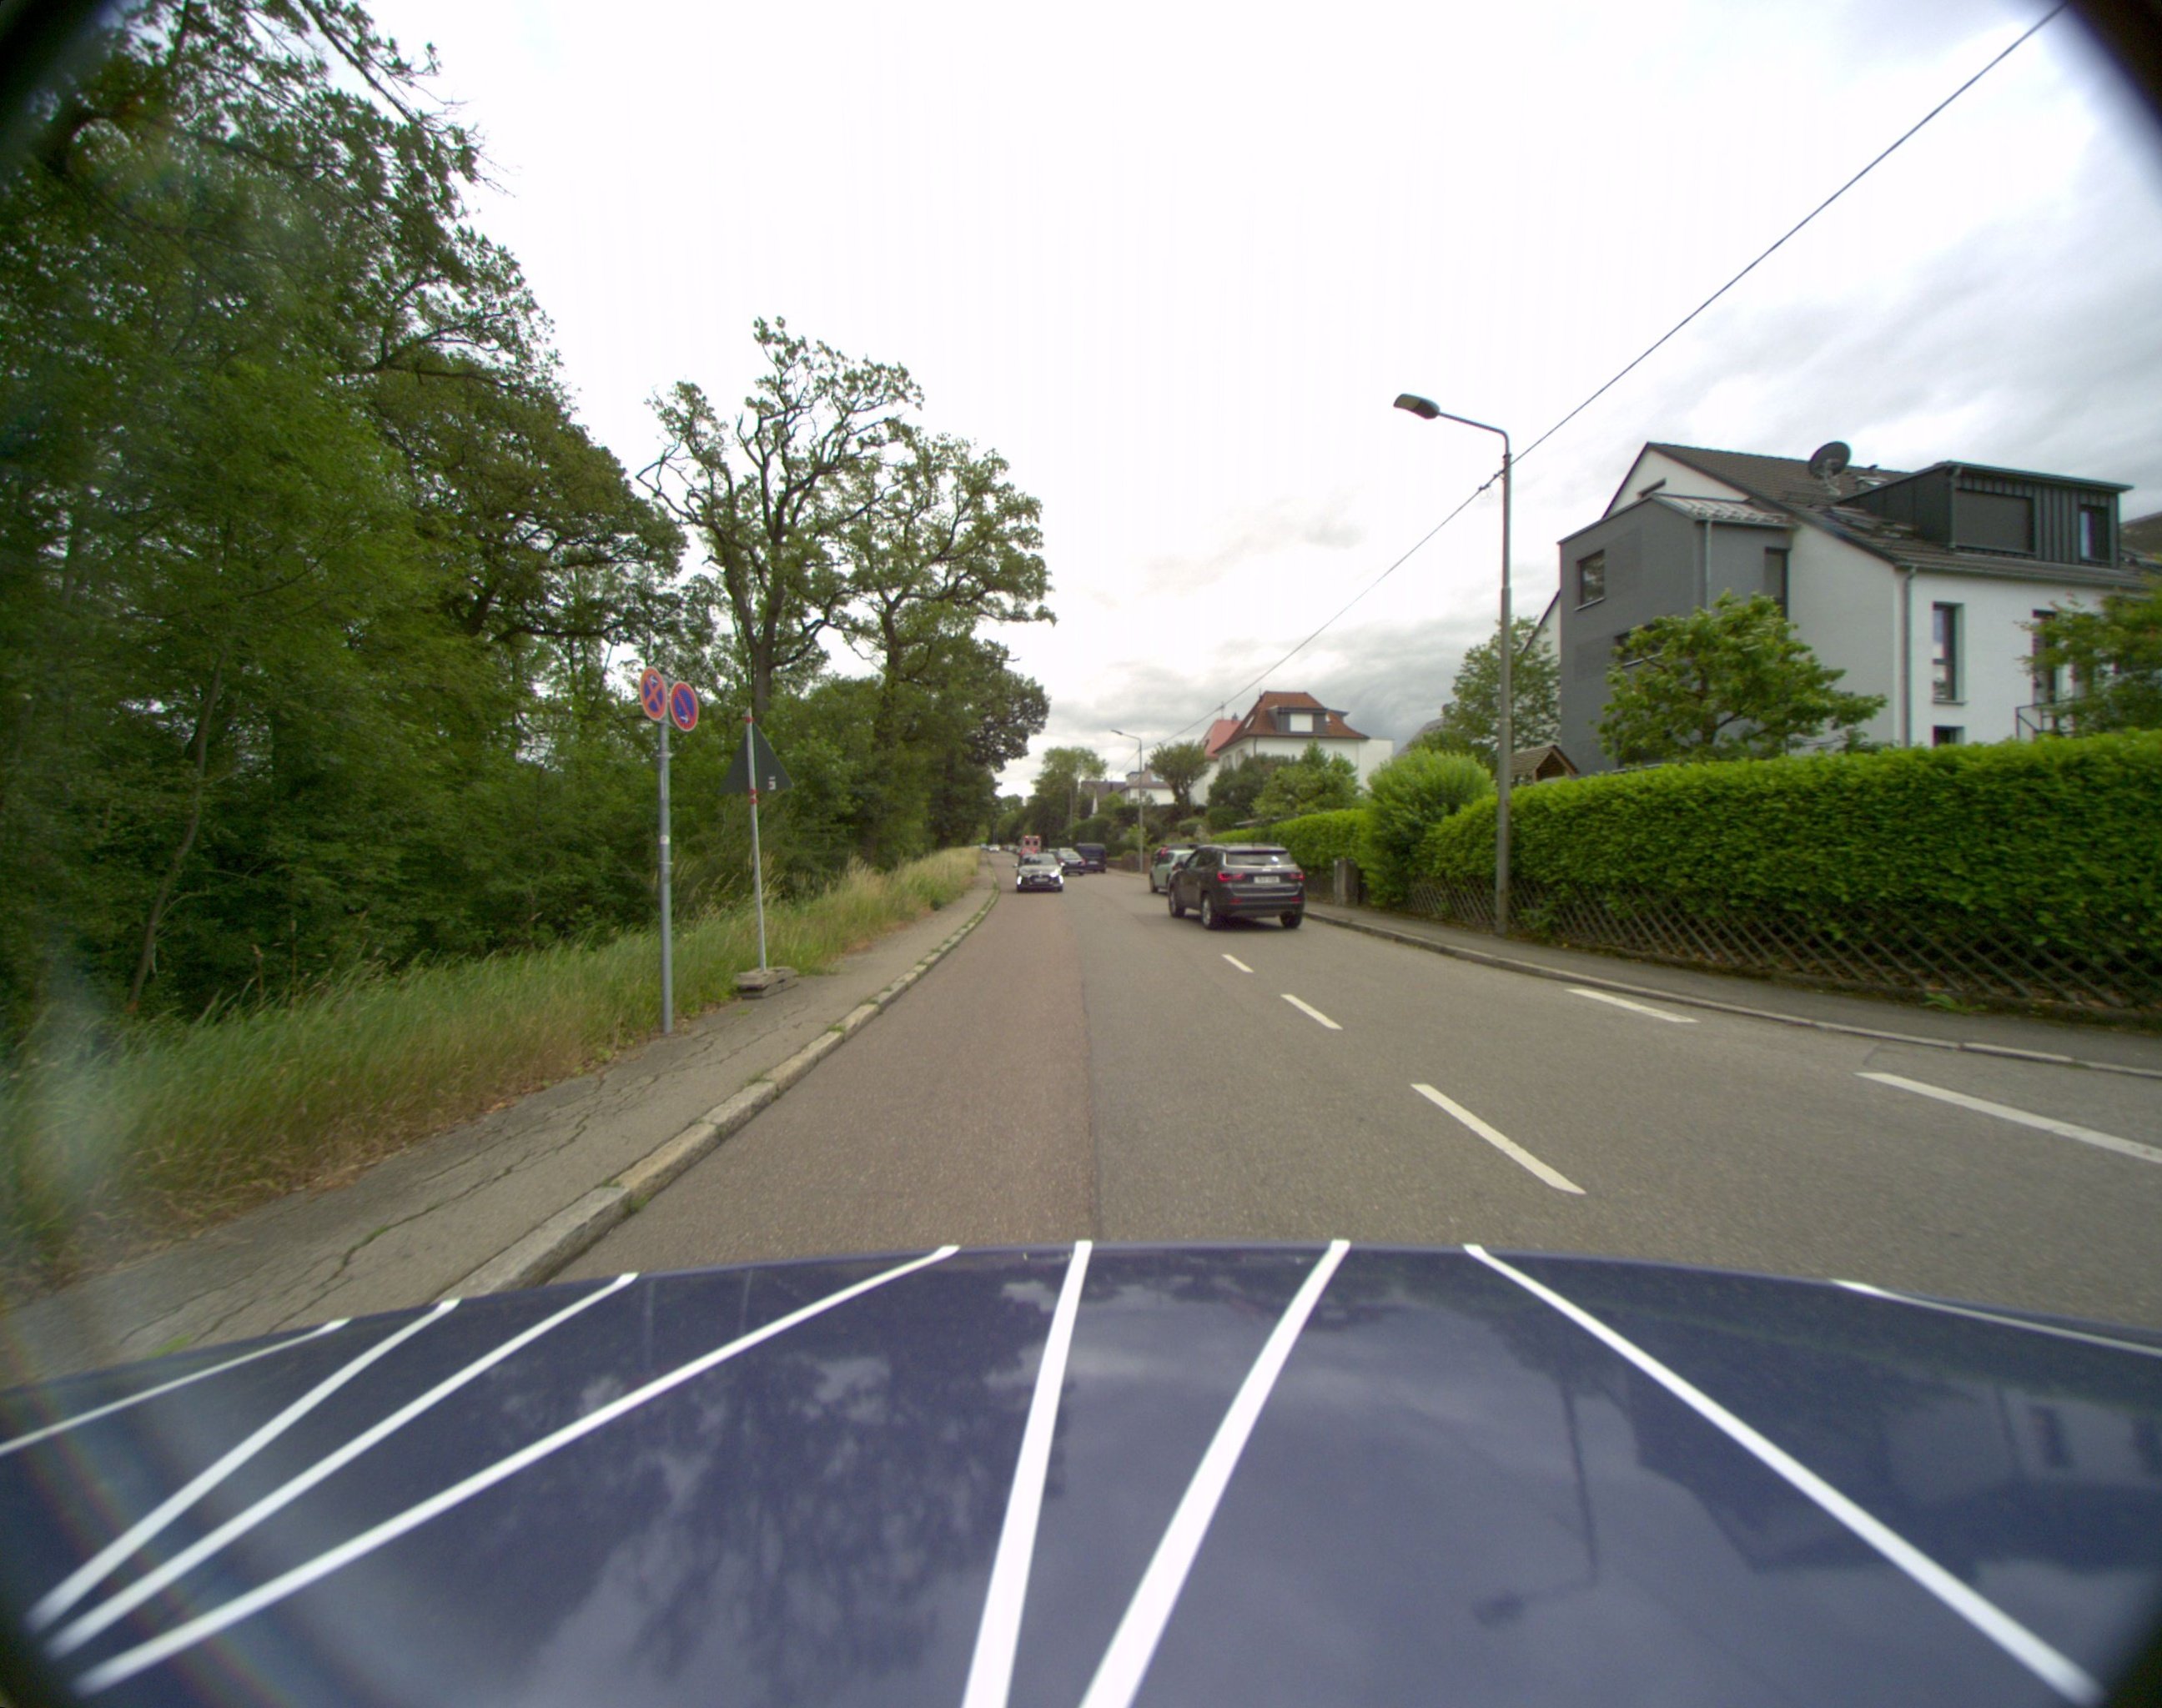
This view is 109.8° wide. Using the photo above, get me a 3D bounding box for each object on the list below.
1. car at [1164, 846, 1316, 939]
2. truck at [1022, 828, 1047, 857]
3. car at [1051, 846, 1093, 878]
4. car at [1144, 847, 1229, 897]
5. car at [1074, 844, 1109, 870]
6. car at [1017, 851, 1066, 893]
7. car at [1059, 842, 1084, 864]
[{"bbox_3d":[3.039,0.660,15.421,1.819,1.590,3.953,-1,1,-7],"label":"car"},{"bbox_3d":[-5.977,-1.468,96.913,3.008,3.618,7.083,0,1,-5],"label":"truck"},{"bbox_3d":[-0.574,0.406,42.851,2.000,1.749,3.997,0,1,-6],"label":"car"},{"bbox_3d":[3.411,0.533,25.294,1.840,1.514,3.997,0,1,-7],"label":"car"},{"bbox_3d":[0.651,0.169,49.060,1.875,1.569,3.998,0,1,-5],"label":"car"},{"bbox_3d":[-1.539,0.638,29.286,1.731,1.449,3.853,-1,1,-4],"label":"car"},{"bbox_3d":[-0.844,-0.095,62.974,1.833,1.665,3.997,0,2,-5],"label":"car"}]
